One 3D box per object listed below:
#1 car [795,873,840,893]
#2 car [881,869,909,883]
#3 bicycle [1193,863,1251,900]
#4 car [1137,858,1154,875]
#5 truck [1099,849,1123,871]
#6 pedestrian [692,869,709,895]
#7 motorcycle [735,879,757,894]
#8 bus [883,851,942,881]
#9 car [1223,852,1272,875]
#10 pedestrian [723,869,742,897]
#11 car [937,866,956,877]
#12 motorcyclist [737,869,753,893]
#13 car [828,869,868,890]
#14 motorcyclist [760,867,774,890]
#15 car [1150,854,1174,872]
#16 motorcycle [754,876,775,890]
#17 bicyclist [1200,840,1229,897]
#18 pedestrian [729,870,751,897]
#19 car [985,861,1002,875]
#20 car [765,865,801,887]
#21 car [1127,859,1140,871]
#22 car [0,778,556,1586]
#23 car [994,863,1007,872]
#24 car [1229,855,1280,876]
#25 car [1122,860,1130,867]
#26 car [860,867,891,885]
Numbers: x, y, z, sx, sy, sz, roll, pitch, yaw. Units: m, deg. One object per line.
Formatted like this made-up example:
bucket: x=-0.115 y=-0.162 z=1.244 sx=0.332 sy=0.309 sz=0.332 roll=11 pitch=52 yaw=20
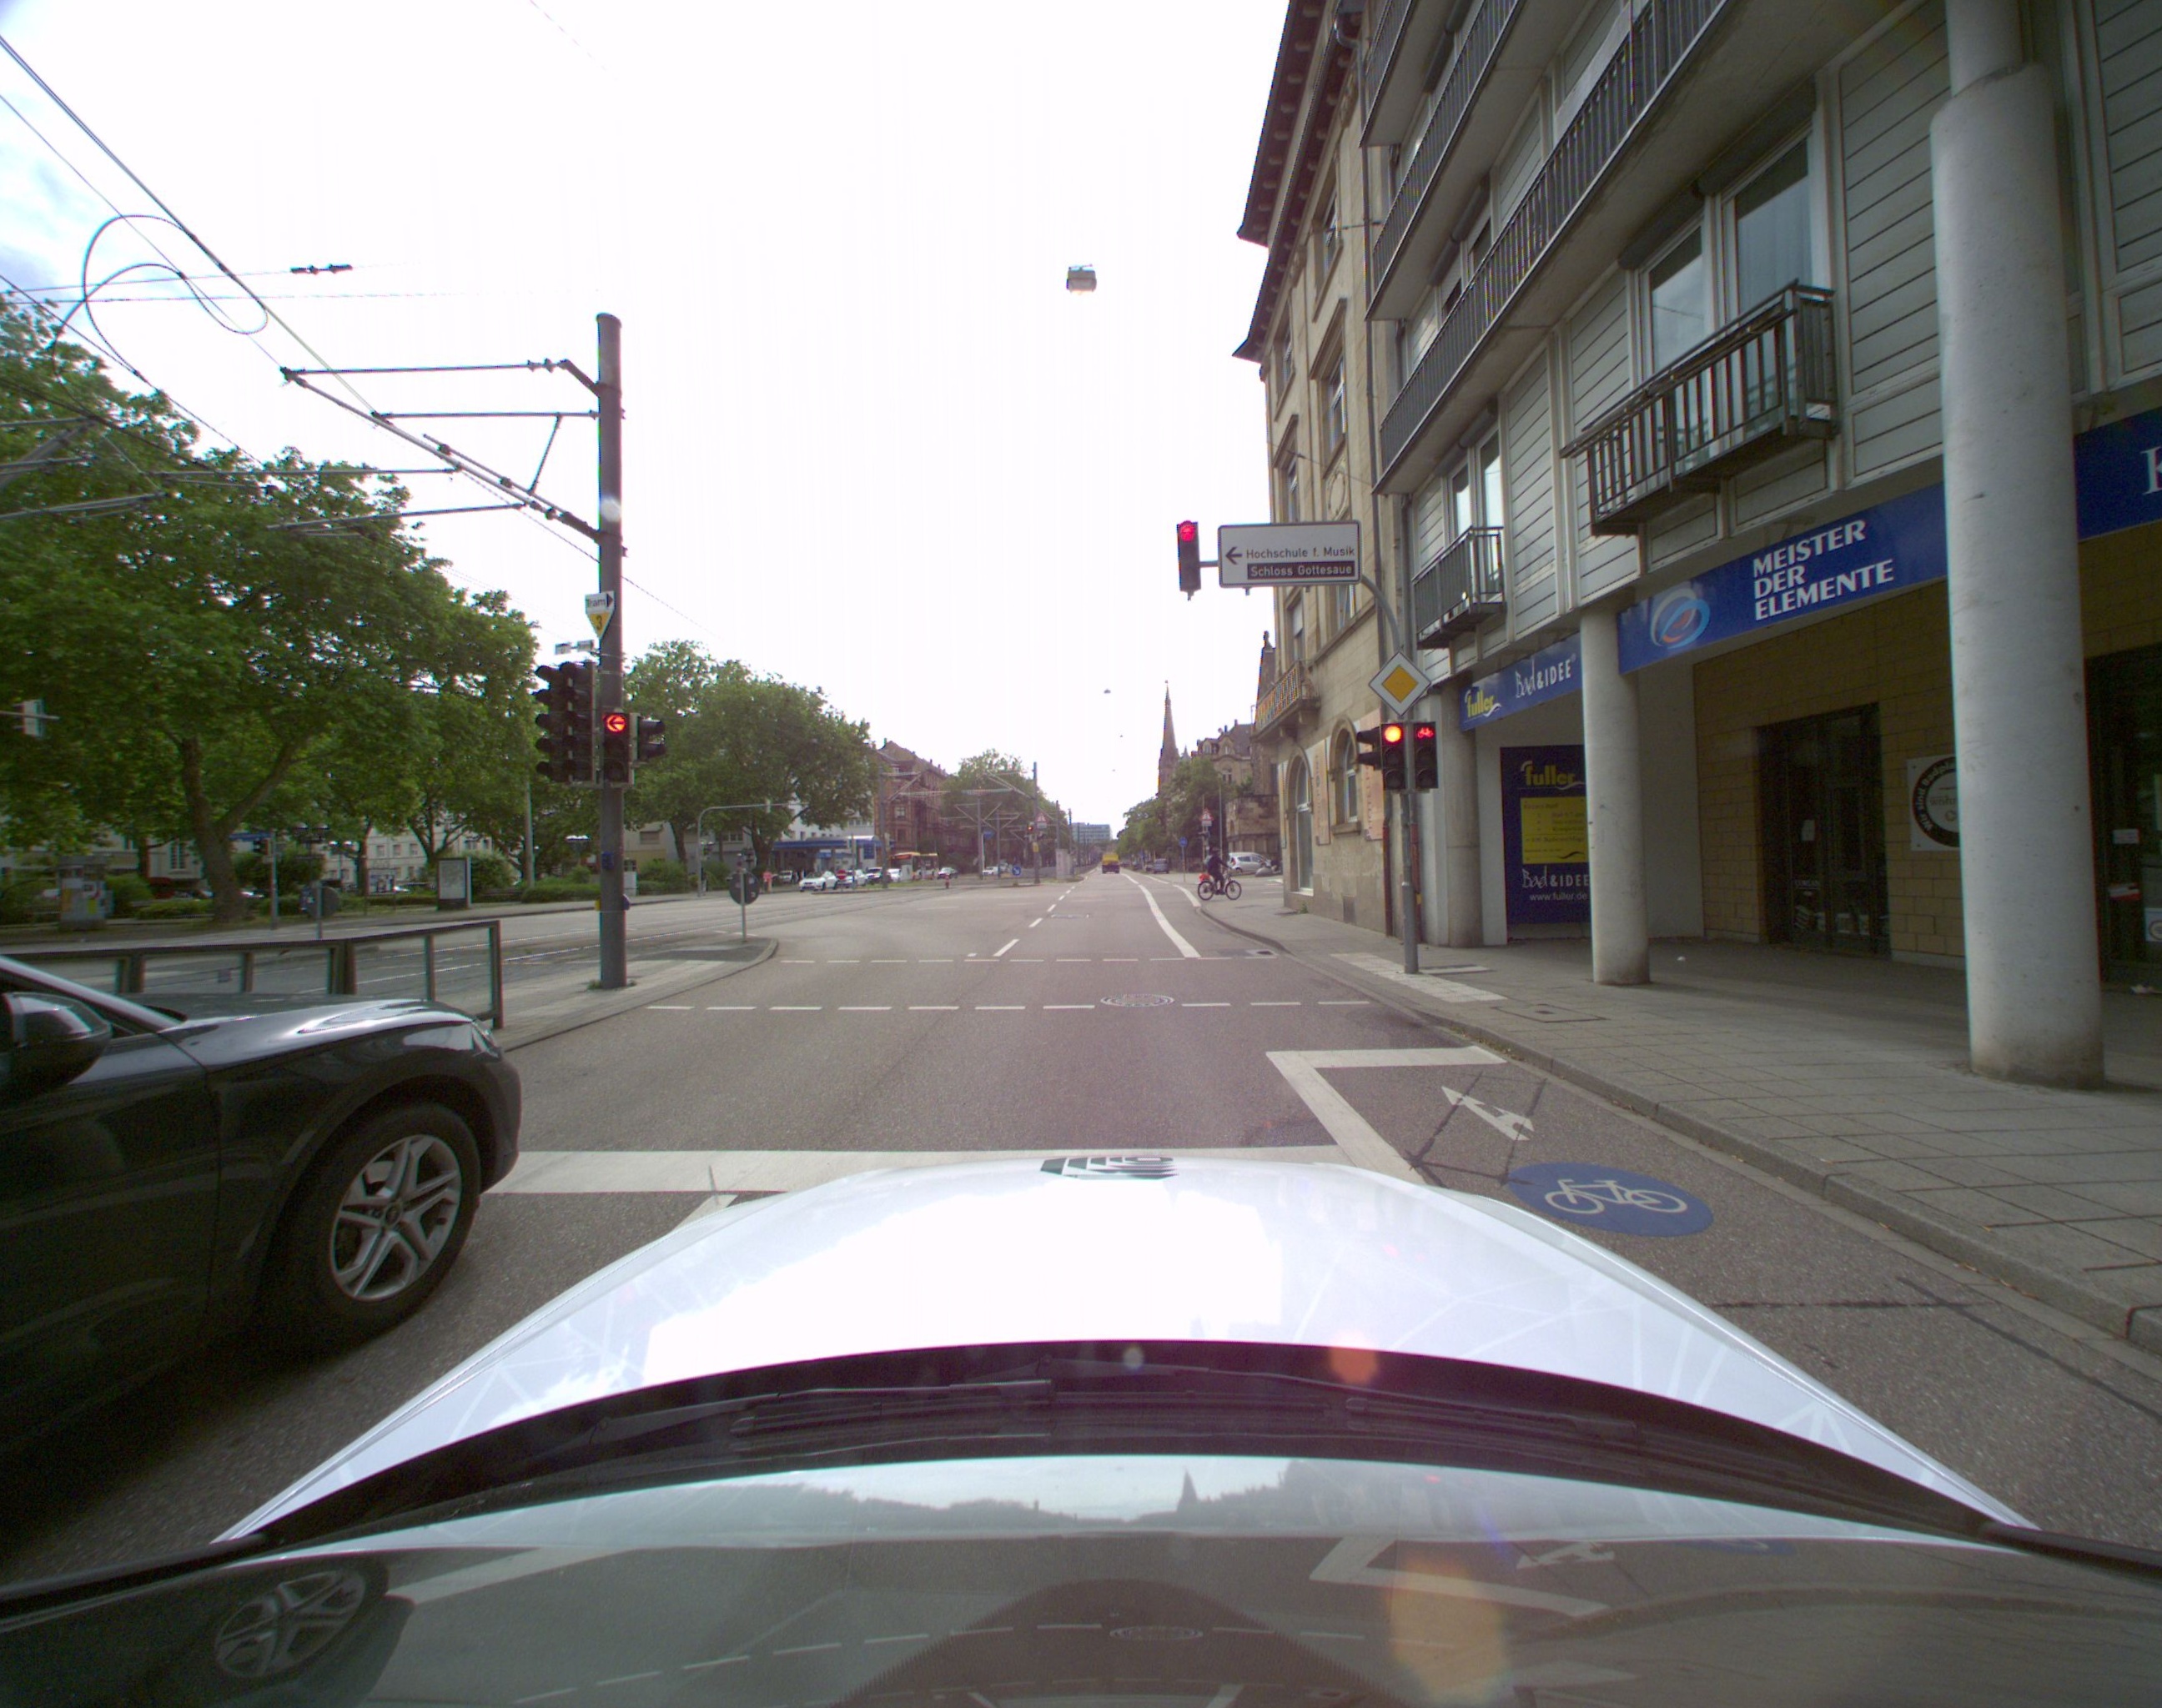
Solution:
car: x=-19.167 y=2.083 z=59.515 sx=1.739 sy=1.321 sz=4.079 roll=0 pitch=0 yaw=4
car: x=-18.159 y=2.108 z=79.628 sx=1.649 sy=1.321 sz=3.641 roll=0 pitch=-1 yaw=3
bicycle: x=5.097 y=0.980 z=29.425 sx=2.002 sy=1.272 sz=0.744 roll=0 pitch=-1 yaw=-28
car: x=7.891 y=1.461 z=99.622 sx=1.985 sy=2.014 sz=4.004 roll=0 pitch=-1 yaw=4
truck: x=4.148 y=0.800 z=111.017 sx=3.043 sy=2.769 sz=9.820 roll=-2 pitch=0 yaw=2
pedestrian: x=-24.902 y=1.850 z=53.313 sx=0.680 sy=1.690 sz=0.743 roll=0 pitch=-1 yaw=6
motorcycle: x=-22.673 y=2.186 z=55.146 sx=0.604 sy=0.928 sz=1.953 roll=-2 pitch=-1 yaw=2
bus: x=-18.300 y=1.306 z=89.705 sx=3.217 sy=3.035 sz=12.323 roll=0 pitch=0 yaw=4
car: x=13.925 y=0.789 z=68.224 sx=3.699 sy=1.855 sz=2.001 roll=0 pitch=-1 yaw=2
pedestrian: x=-22.070 y=1.850 z=51.579 sx=0.863 sy=1.713 sz=0.692 roll=-2 pitch=-1 yaw=5
car: x=-17.177 y=2.215 z=104.270 sx=1.649 sy=1.321 sz=3.641 roll=0 pitch=-1 yaw=3
motorcyclist: x=-22.688 y=1.816 z=54.978 sx=0.617 sy=1.520 sz=0.874 roll=-2 pitch=-1 yaw=2
car: x=-18.845 y=2.063 z=66.064 sx=1.986 sy=1.594 sz=4.001 roll=0 pitch=-1 yaw=2
motorcyclist: x=-21.605 y=1.661 z=56.037 sx=0.617 sy=1.520 sz=0.874 roll=-2 pitch=-1 yaw=2
car: x=8.973 y=0.989 z=89.938 sx=1.979 sy=1.855 sz=4.042 roll=-1 pitch=-1 yaw=14
motorcycle: x=-21.645 y=1.965 z=55.702 sx=0.604 sy=0.928 sz=1.953 roll=-2 pitch=-1 yaw=2
bicyclist: x=4.799 y=0.500 z=29.287 sx=0.696 sy=2.014 sz=0.776 roll=0 pitch=-1 yaw=-27
pedestrian: x=-21.882 y=1.890 z=52.277 sx=0.865 sy=1.713 sz=0.879 roll=-2 pitch=-1 yaw=14
car: x=-13.664 y=2.184 z=127.189 sx=1.986 sy=2.014 sz=4.001 roll=0 pitch=-1 yaw=2
car: x=-29.844 y=2.168 z=81.797 sx=1.986 sy=2.014 sz=4.001 roll=-2 pitch=-1 yaw=2
car: x=8.689 y=1.816 z=135.969 sx=1.986 sy=2.014 sz=4.001 roll=0 pitch=-1 yaw=2
car: x=-3.073 y=0.667 z=1.217 sx=1.727 sy=1.637 sz=4.228 roll=0 pitch=-1 yaw=2
car: x=-14.777 y=2.441 z=149.831 sx=1.986 sy=1.610 sz=4.001 roll=0 pitch=-1 yaw=2
car: x=13.749 y=0.906 z=64.791 sx=3.699 sy=1.563 sz=2.001 roll=0 pitch=-1 yaw=2
car: x=11.912 y=2.508 z=216.786 sx=1.986 sy=2.014 sz=4.001 roll=0 pitch=-1 yaw=2
car: x=-18.331 y=1.936 z=72.707 sx=1.649 sy=1.478 sz=3.641 roll=0 pitch=-1 yaw=3
